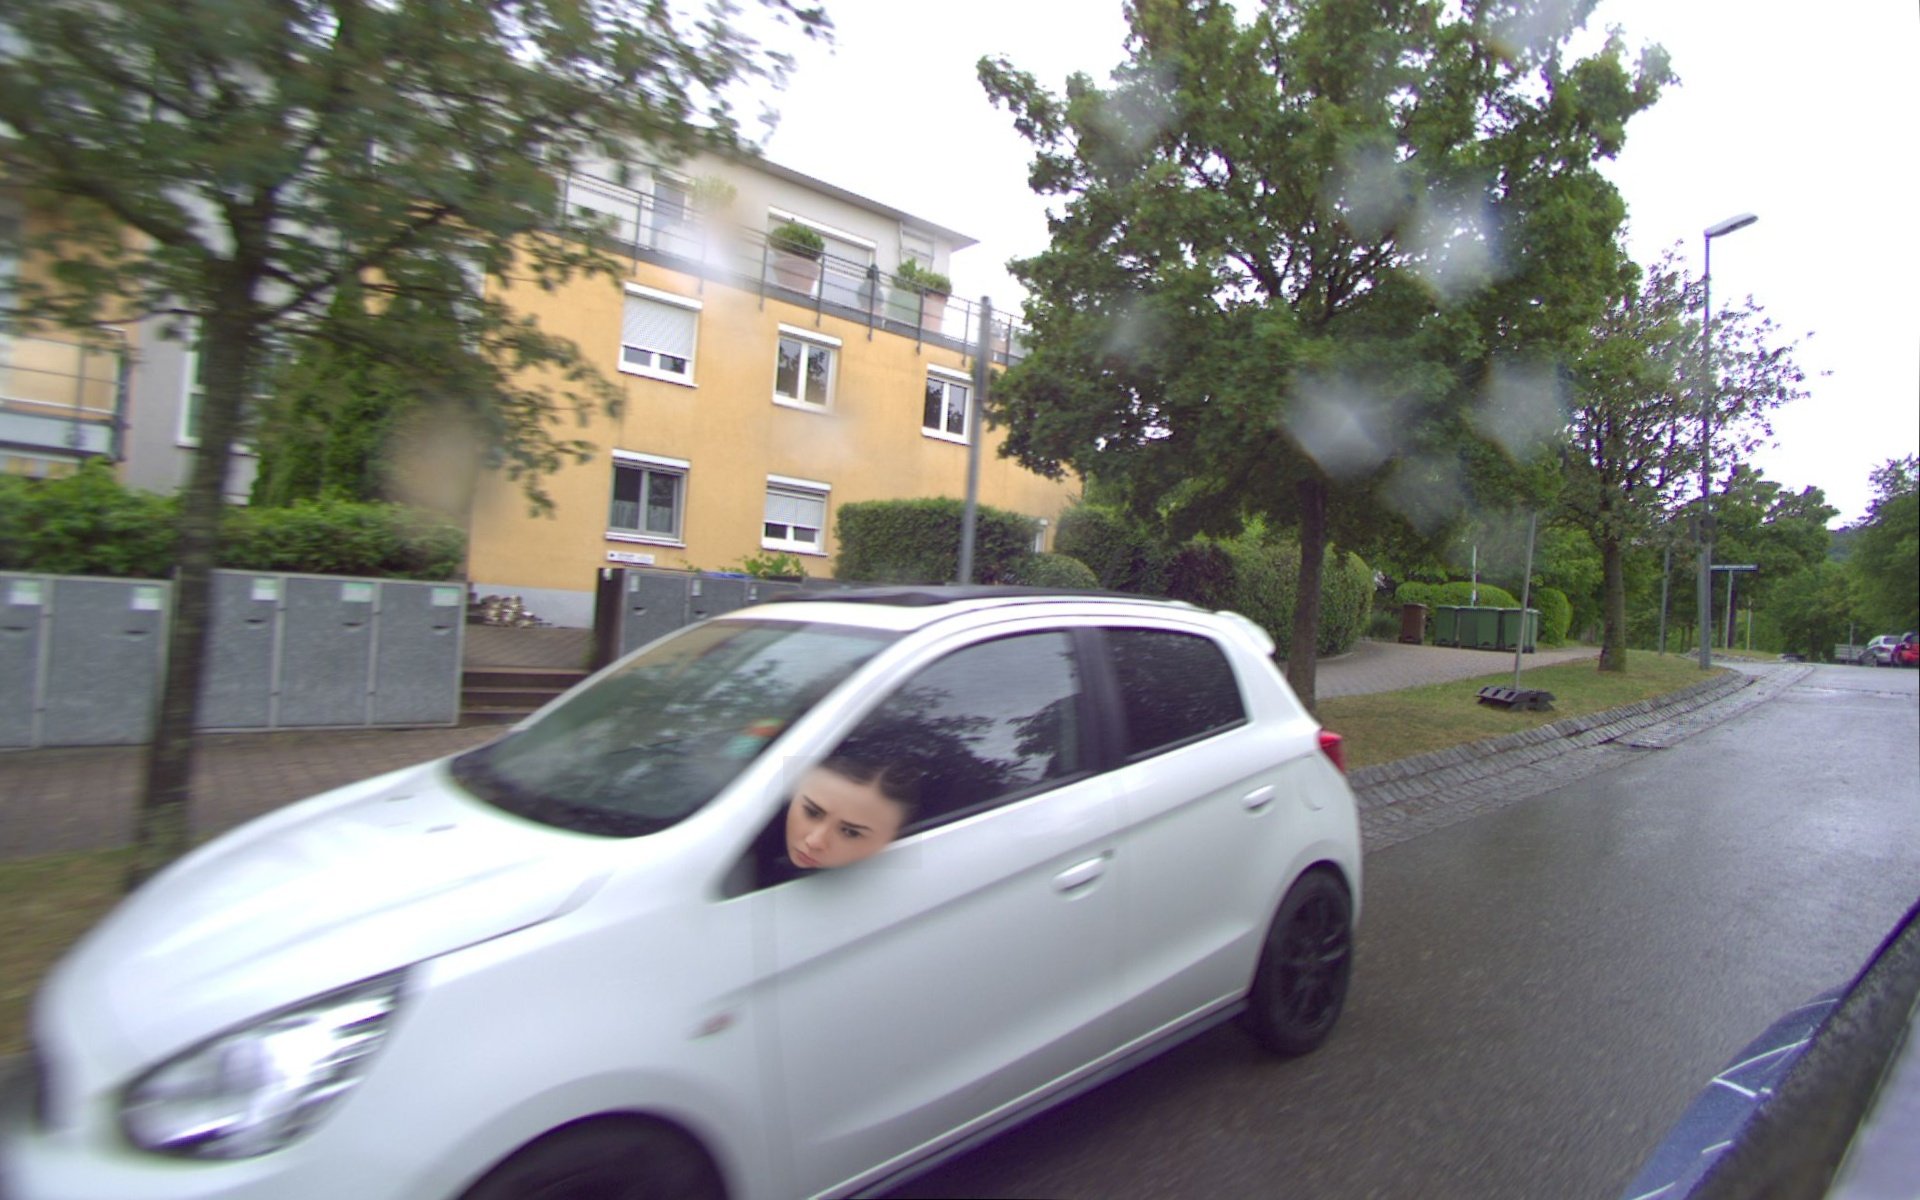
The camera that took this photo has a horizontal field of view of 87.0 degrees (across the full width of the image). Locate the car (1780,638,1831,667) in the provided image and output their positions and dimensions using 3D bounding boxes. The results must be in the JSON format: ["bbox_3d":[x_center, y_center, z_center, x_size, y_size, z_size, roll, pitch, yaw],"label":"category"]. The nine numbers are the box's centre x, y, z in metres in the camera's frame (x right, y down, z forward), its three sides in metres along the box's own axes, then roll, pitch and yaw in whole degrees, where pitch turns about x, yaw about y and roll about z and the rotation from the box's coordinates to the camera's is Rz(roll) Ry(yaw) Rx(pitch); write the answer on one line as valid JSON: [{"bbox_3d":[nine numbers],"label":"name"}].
[{"bbox_3d":[56.967,3.568,68.236,1.946,1.628,3.955,3,-4,30],"label":"car"}]

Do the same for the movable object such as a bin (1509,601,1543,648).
[{"bbox_3d":[13.505,0.579,24.156,0.541,1.087,0.657,2,-1,42],"label":"movable object such as a bin"}]

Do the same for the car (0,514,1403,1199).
[{"bbox_3d":[-0.320,0.649,3.026,3.661,1.521,1.608,0,0,-41],"label":"car"}]

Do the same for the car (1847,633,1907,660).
[{"bbox_3d":[48.268,2.452,53.347,1.721,1.297,3.290,2,-1,32],"label":"car"}]

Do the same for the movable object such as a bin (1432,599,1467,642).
[{"bbox_3d":[12.590,0.528,26.023,0.603,1.068,0.686,2,-1,41],"label":"movable object such as a bin"}]

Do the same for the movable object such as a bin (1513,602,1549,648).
[{"bbox_3d":[13.954,0.605,24.723,0.600,1.088,0.686,2,-1,41],"label":"movable object such as a bin"}]

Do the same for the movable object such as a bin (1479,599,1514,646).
[{"bbox_3d":[13.043,0.554,24.596,0.595,1.086,0.686,2,-1,41],"label":"movable object such as a bin"}]

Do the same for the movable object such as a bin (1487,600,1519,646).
[{"bbox_3d":[13.495,0.577,25.152,0.541,1.088,0.686,2,-1,41],"label":"movable object such as a bin"}]

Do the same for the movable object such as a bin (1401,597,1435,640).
[{"bbox_3d":[12.013,0.488,26.548,0.603,1.068,0.686,2,-1,41],"label":"movable object such as a bin"}]

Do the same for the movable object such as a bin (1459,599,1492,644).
[{"bbox_3d":[13.029,0.549,25.578,0.577,1.080,0.686,2,-1,41],"label":"movable object such as a bin"}]

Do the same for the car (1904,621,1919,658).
[{"bbox_3d":[40.105,1.677,41.652,1.545,1.454,2.970,1,-2,37],"label":"car"}]

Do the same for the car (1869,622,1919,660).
[{"bbox_3d":[43.616,1.923,46.678,1.838,1.572,3.942,2,-2,32],"label":"car"}]
